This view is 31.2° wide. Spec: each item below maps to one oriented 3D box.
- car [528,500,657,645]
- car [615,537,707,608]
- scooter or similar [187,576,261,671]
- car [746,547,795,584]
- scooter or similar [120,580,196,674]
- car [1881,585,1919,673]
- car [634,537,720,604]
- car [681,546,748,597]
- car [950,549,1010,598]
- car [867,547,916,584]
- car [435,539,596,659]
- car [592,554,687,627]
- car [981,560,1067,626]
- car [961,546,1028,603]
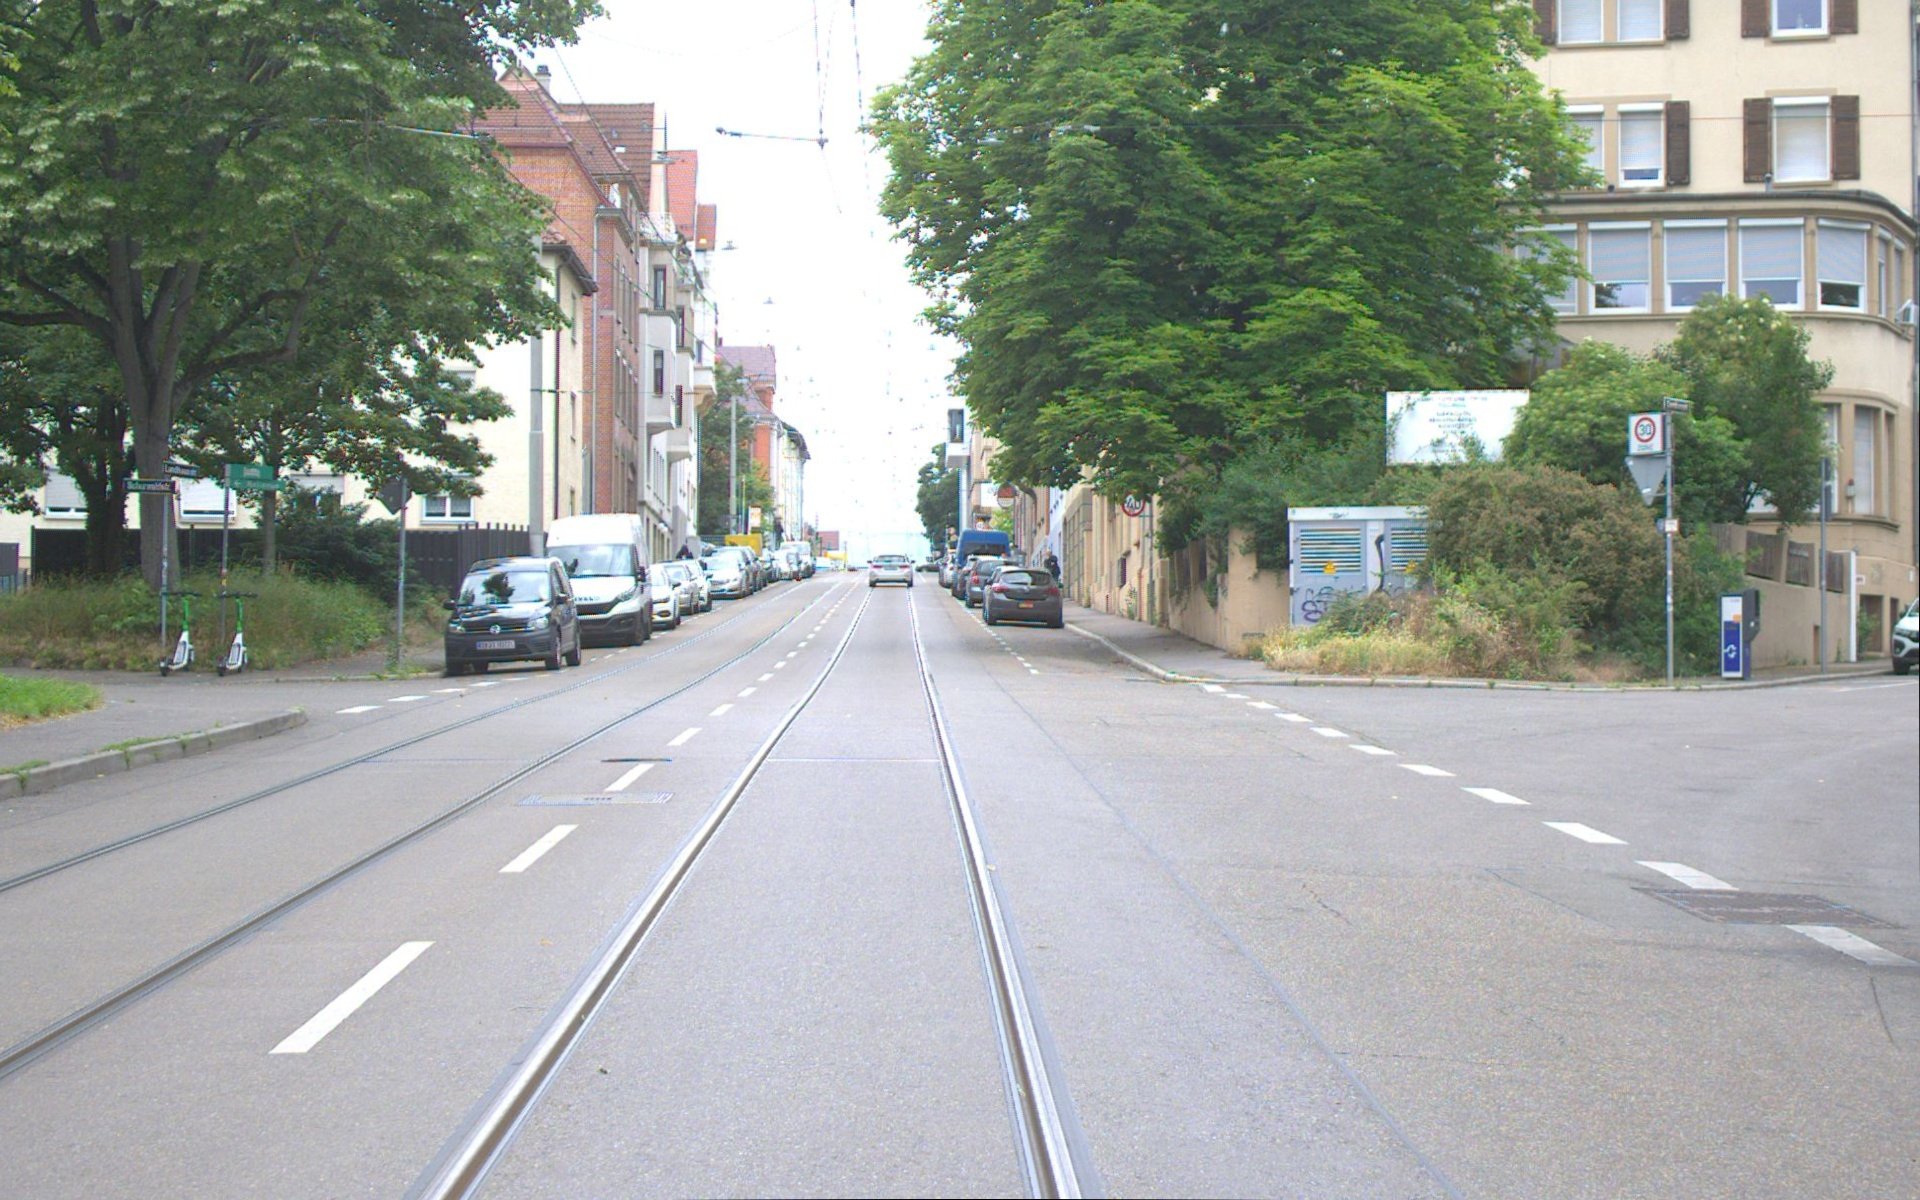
[{"bbox_3d":[-7.348,-0.542,69.196,2.230,2.755,5.800,1,0,-3],"label":"car"},{"bbox_3d":[-7.881,-0.713,90.872,1.993,1.806,4.312,1,0,0],"label":"car"},{"bbox_3d":[-10.603,0.335,49.580,0.691,1.334,1.639,1,0,0],"label":"scooter or similar"},{"bbox_3d":[-8.389,-1.523,152.554,1.993,1.596,4.000,1,0,-1],"label":"car"},{"bbox_3d":[-11.559,0.382,49.606,0.691,1.334,1.639,1,0,0],"label":"scooter or similar"},{"bbox_3d":[18.172,0.535,62.746,1.996,1.547,3.995,1,0,24],"label":"car"},{"bbox_3d":[-7.910,-0.820,96.524,1.993,1.806,4.312,1,0,0],"label":"car"},{"bbox_3d":[-8.056,-0.926,113.029,1.924,1.596,4.000,1,0,-1],"label":"car"},{"bbox_3d":[0.667,-0.897,116.979,1.993,1.645,4.000,0,0,0],"label":"car"},{"bbox_3d":[-2.876,-1.446,144.513,1.993,1.493,4.312,1,0,-1],"label":"car"},{"bbox_3d":[-7.023,-0.017,54.709,1.993,1.802,4.000,1,0,0],"label":"car"},{"bbox_3d":[-7.375,-0.219,79.515,1.993,1.595,4.312,1,0,-3],"label":"car"},{"bbox_3d":[1.538,-0.167,83.509,1.993,1.525,4.312,1,0,0],"label":"car"},{"bbox_3d":[1.034,-0.757,104.939,1.993,1.711,4.000,0,0,0],"label":"car"}]
